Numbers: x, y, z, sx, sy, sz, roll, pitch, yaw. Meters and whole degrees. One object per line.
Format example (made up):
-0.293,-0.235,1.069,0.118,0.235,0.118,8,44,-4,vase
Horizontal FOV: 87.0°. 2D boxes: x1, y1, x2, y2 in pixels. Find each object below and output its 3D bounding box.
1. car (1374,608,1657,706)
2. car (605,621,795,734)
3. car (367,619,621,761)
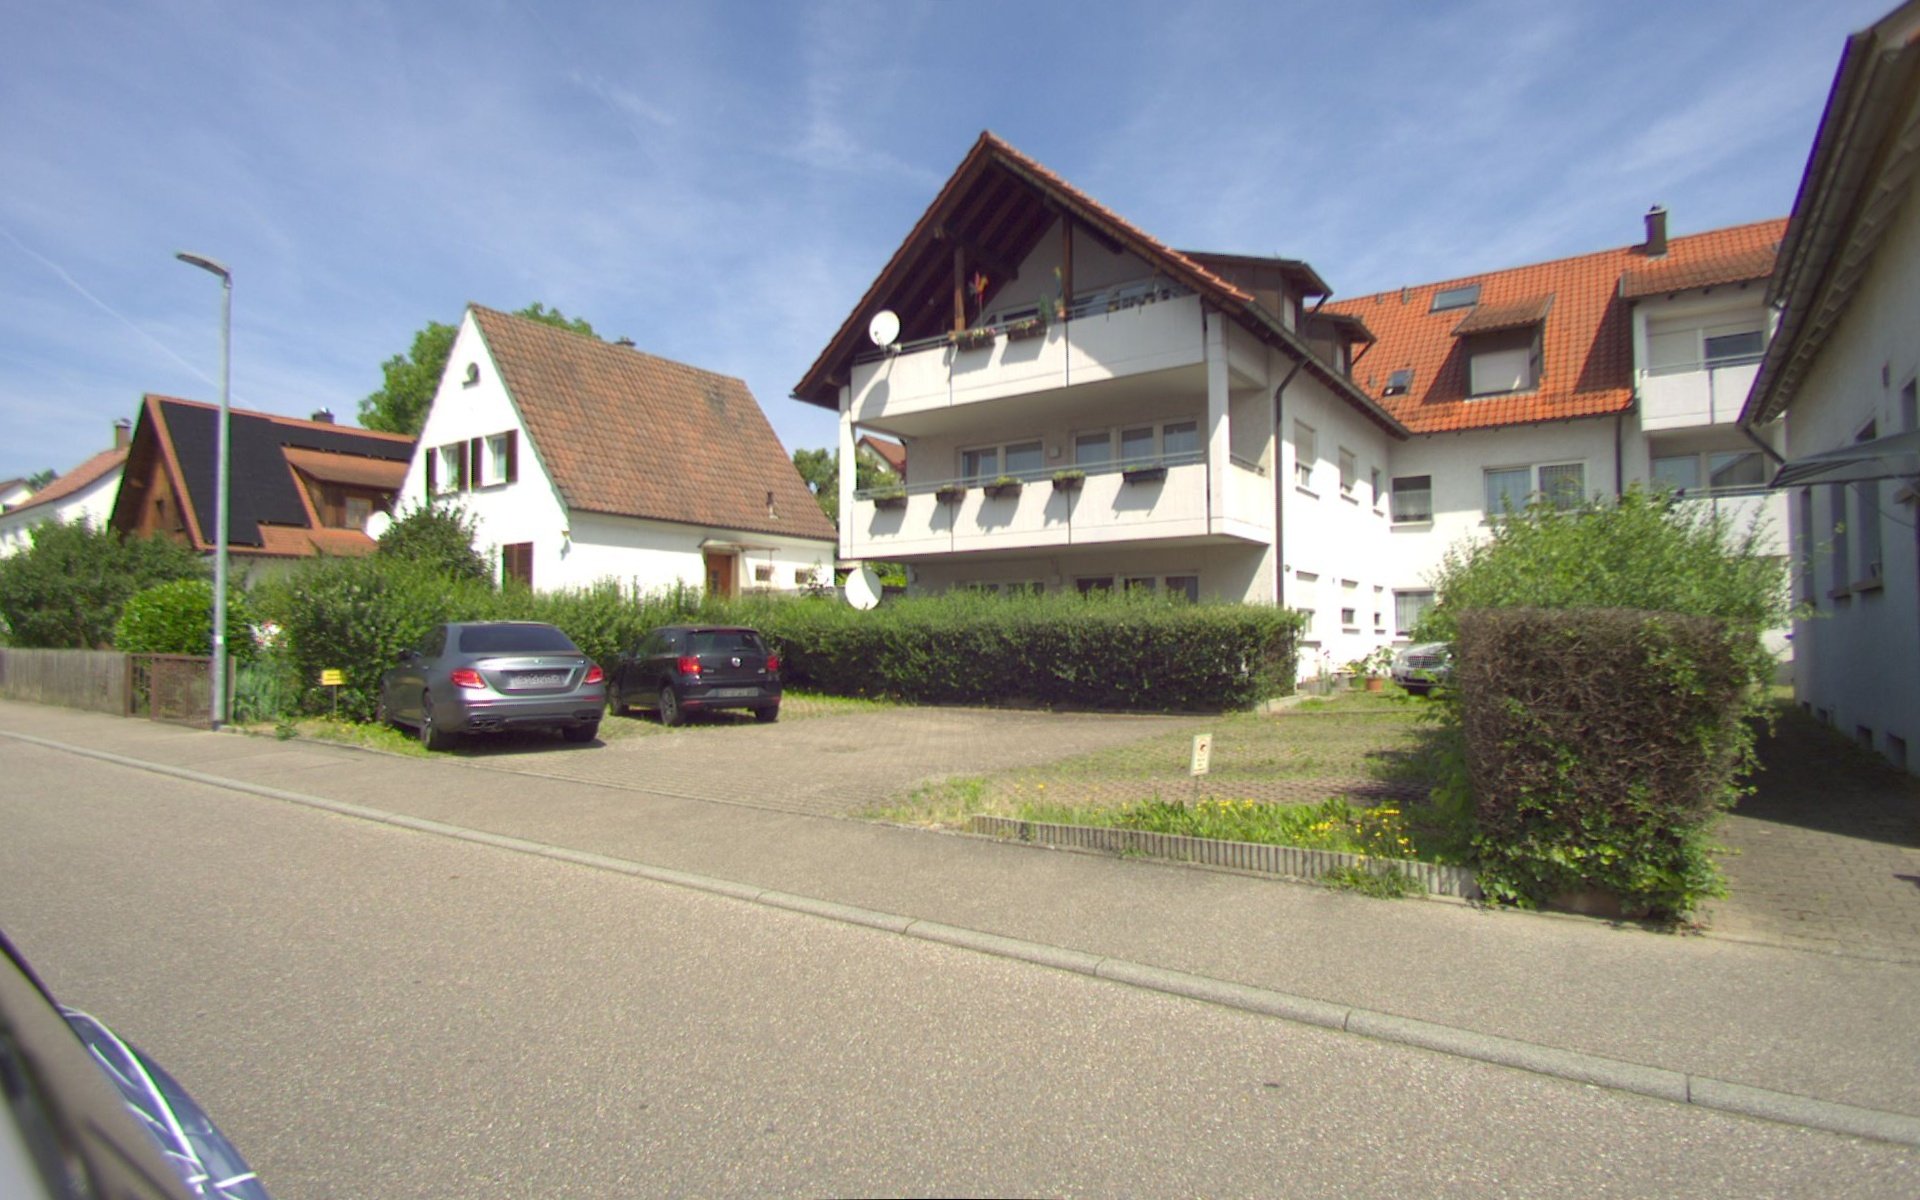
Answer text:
9.302,0.920,16.963,4.201,1.482,1.881,1,-3,-22,car
-4.068,1.084,15.464,1.666,1.513,3.661,1,-2,-35,car
-5.976,0.981,12.660,1.804,1.443,4.571,1,-2,-39,car
